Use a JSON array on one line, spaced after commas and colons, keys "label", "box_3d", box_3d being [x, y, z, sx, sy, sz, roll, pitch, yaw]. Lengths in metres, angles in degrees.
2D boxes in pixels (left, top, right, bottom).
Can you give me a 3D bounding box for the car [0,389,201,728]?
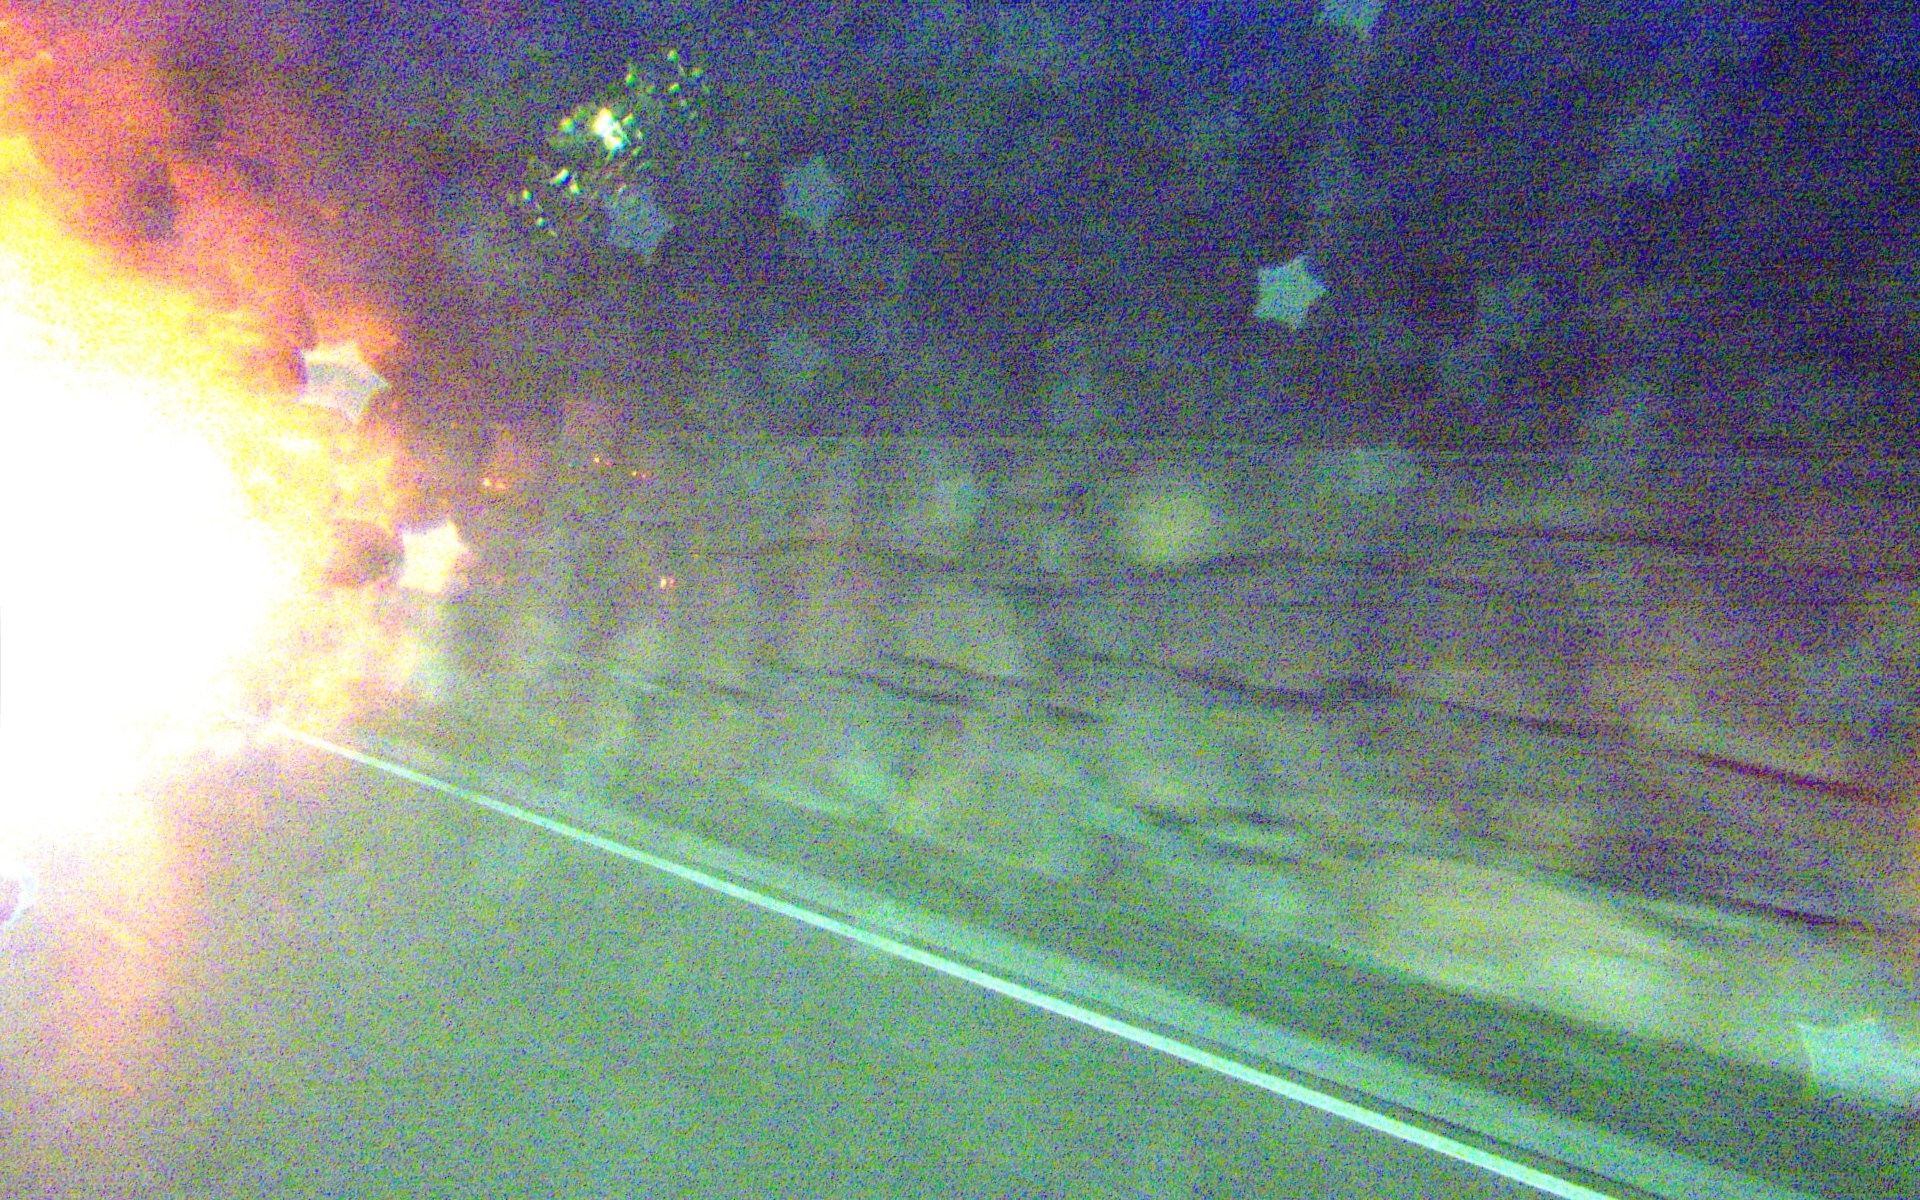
[{"label": "car", "box_3d": [-7.708, -0.469, 7.302, 4.503, 2.045, 1.795, 7, -1, 31]}]
